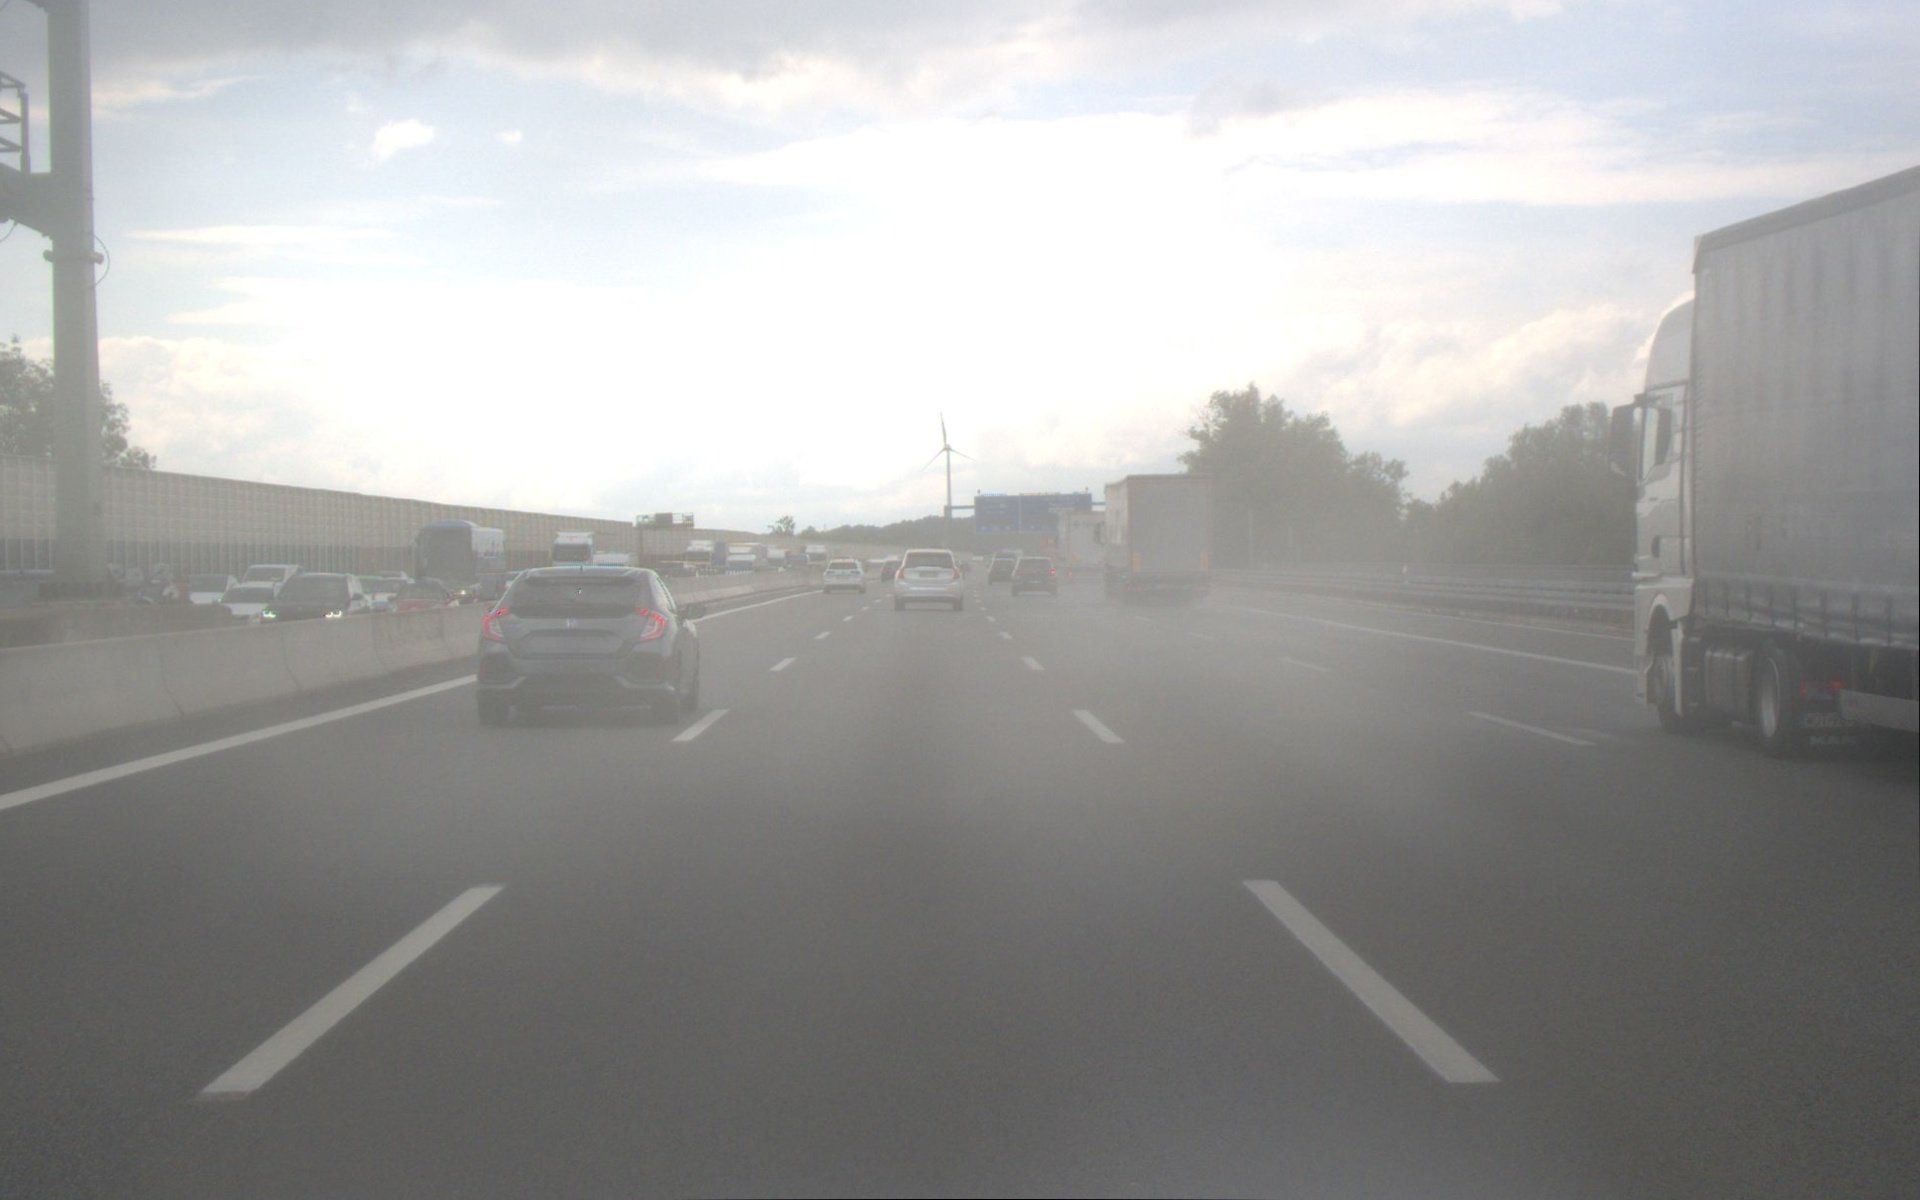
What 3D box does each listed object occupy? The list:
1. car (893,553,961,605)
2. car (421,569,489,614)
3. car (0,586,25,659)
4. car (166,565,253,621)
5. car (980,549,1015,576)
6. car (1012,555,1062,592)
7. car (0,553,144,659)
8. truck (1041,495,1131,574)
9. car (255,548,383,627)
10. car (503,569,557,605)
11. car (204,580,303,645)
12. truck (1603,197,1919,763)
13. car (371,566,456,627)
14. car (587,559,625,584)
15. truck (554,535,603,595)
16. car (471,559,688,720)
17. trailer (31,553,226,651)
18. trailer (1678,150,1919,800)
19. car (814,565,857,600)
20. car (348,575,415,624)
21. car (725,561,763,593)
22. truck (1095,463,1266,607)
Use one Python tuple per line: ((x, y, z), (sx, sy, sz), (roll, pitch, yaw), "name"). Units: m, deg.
((-0.969, -0.617, 98.296), (1.772, 1.436, 4.056), (0, 1, -3), "car")
((-19.279, -0.334, 131.454), (1.934, 1.605, 4.178), (-1, 1, 0), "car")
((-22.636, 0.537, 77.721), (1.821, 1.625, 4.526), (-1, 1, -1), "car")
((-22.867, -0.234, 104.887), (1.747, 1.625, 4.645), (-1, 1, -2), "car")
((2.129, -2.127, 194.625), (1.835, 1.436, 4.056), (0, 1, -1), "car")
((3.042, -1.066, 136.638), (1.835, 1.436, 4.056), (0, 1, -1), "car")
((-15.283, 0.063, 58.141), (1.816, 1.703, 4.807), (-1, 1, 0), "car")
((6.847, -3.621, 189.520), (4.243, 4.162, 11.990), (1, 1, -1), "truck")
((-14.771, -0.314, 79.471), (1.880, 1.738, 5.110), (-1, 1, 1), "car")
((-19.005, -0.598, 152.188), (1.747, 1.520, 4.927), (-1, 1, 0), "car")
((-18.798, 0.316, 91.590), (1.747, 1.625, 4.166), (-1, 1, 0), "car")
((7.315, -0.918, 27.654), (2.961, 4.006, 6.589), (0, 1, -1), "truck")
((-15.168, -0.114, 95.563), (1.747, 1.625, 3.748), (-1, 1, 0), "car")
((-22.052, -1.794, 214.299), (1.747, 1.520, 5.140), (-1, 1, 0), "car")
((-25.427, -2.333, 229.216), (2.576, 3.921, 5.177), (1, 1, 0), "truck")
((-3.580, 0.321, 33.074), (1.760, 1.364, 5.061), (0, 1, -3), "car")
((-15.289, -0.007, 63.566), (2.144, 1.703, 6.046), (-1, 1, 0), "trailer")
((7.398, -0.761, 20.839), (2.961, 4.006, 14.119), (0, 1, -1), "trailer")
((-5.352, -0.776, 147.467), (1.772, 1.436, 3.874), (0, 1, -2), "car")
((-19.612, -0.038, 116.580), (1.621, 1.574, 3.619), (-1, 1, 0), "car")
((-14.559, -1.564, 232.039), (2.159, 2.064, 6.014), (-1, 1, 0), "car")
((6.883, -2.077, 109.874), (4.179, 4.273, 12.614), (1, 1, -2), "truck")
